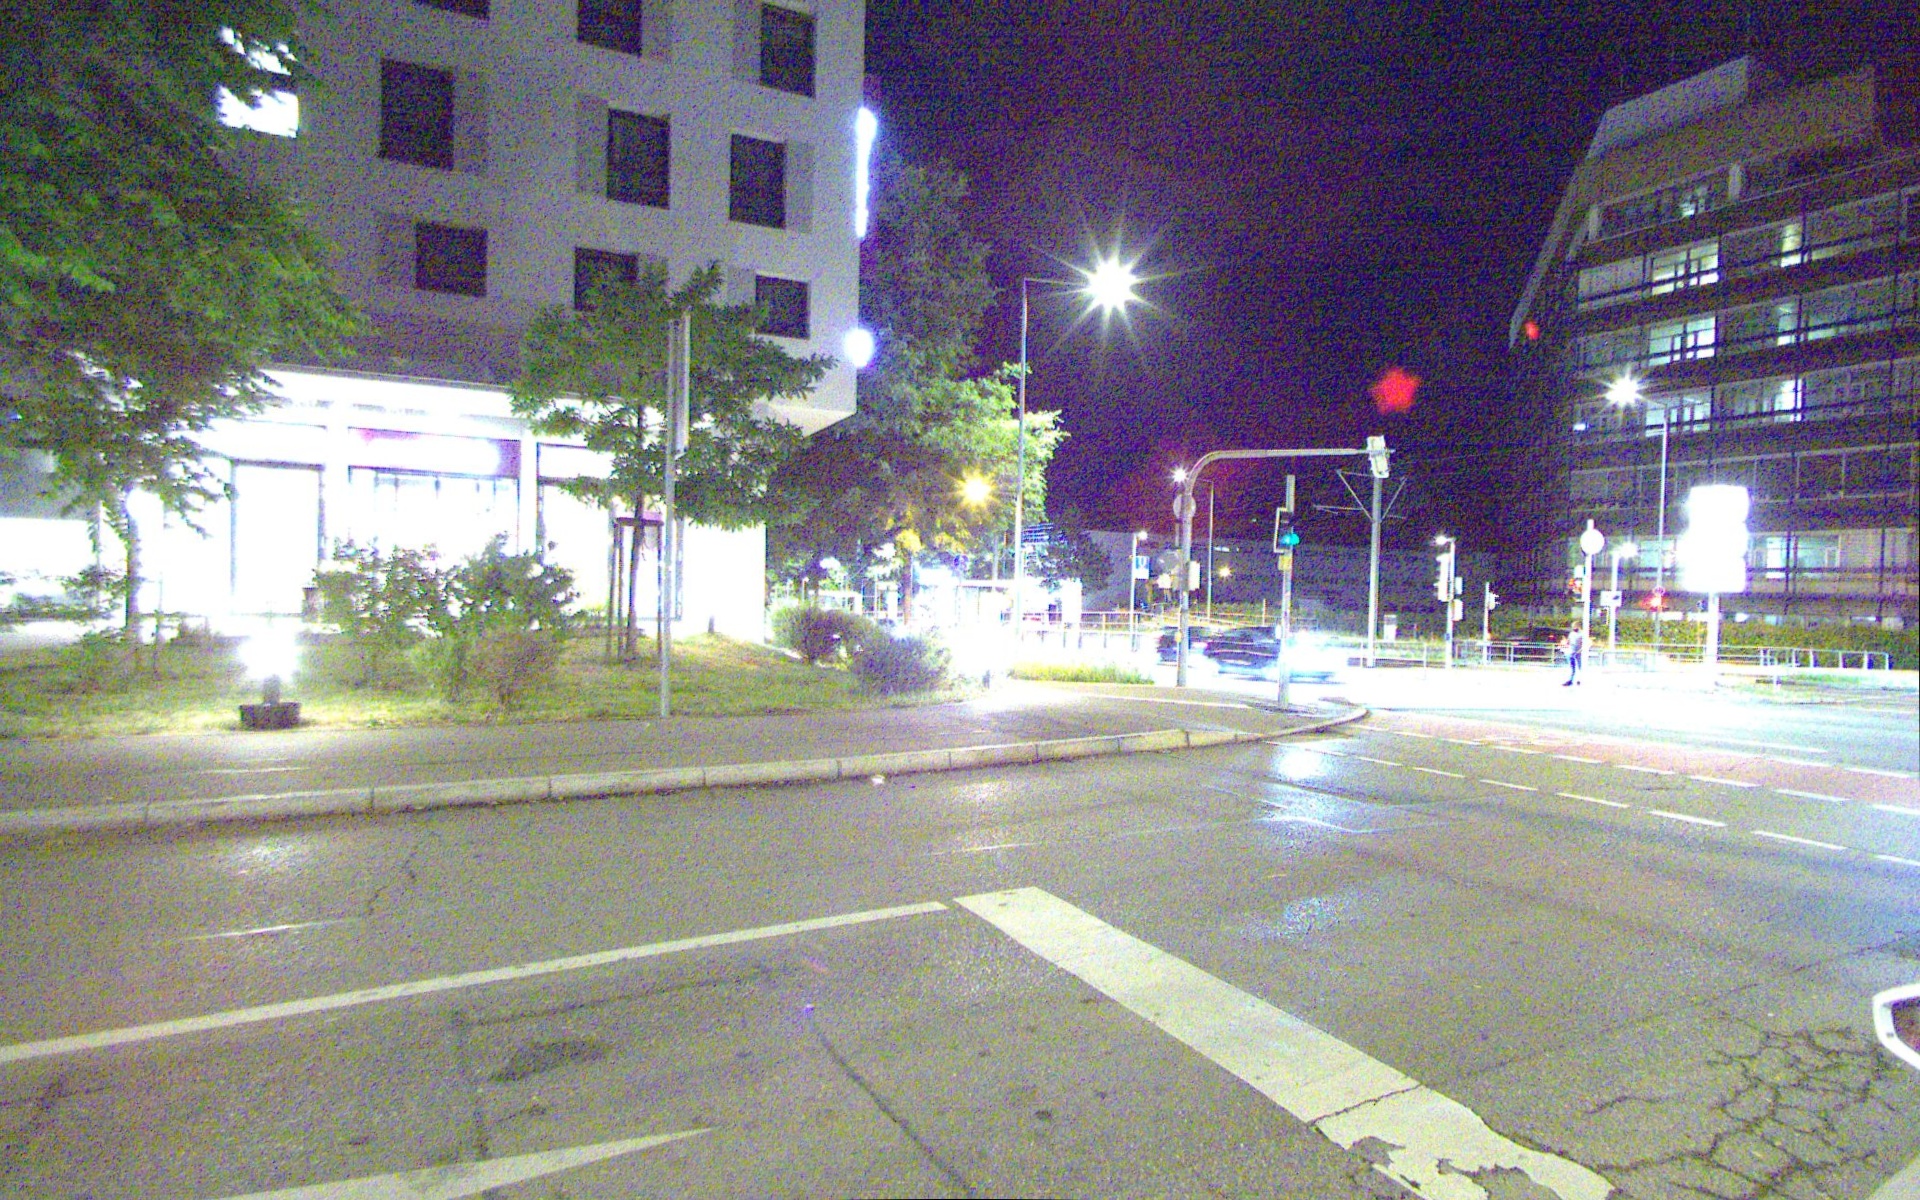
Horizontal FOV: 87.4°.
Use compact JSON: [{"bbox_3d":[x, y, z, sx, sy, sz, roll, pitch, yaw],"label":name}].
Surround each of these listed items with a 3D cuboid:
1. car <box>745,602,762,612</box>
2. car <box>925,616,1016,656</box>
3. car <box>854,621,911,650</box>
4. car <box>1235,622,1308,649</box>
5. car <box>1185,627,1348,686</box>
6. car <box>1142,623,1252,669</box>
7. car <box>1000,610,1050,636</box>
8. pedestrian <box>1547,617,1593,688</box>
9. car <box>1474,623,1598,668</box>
[{"bbox_3d":[-33.470,1.144,162.931,1.845,1.506,3.822,3,0,-26],"label":"car"},{"bbox_3d":[0.353,1.404,40.754,1.722,1.493,4.905,1,-1,-26],"label":"car"},{"bbox_3d":[-4.648,2.070,59.555,1.722,1.620,4.905,0,-1,-26],"label":"car"},{"bbox_3d":[18.156,2.066,58.732,1.818,1.443,4.047,-1,0,-26],"label":"car"},{"bbox_3d":[8.464,1.508,28.184,1.722,1.439,4.557,-2,-1,-26],"label":"car"},{"bbox_3d":[8.366,1.598,35.840,1.719,1.439,4.241,-1,0,-22],"label":"car"},{"bbox_3d":[5.112,1.803,80.155,1.819,1.869,4.763,3,0,-26],"label":"car"},{"bbox_3d":[15.683,1.341,25.831,0.693,1.745,0.679,2,0,-4],"label":"pedestrian"},{"bbox_3d":[23.076,1.793,40.365,1.781,1.606,3.970,2,-1,-28],"label":"car"}]
